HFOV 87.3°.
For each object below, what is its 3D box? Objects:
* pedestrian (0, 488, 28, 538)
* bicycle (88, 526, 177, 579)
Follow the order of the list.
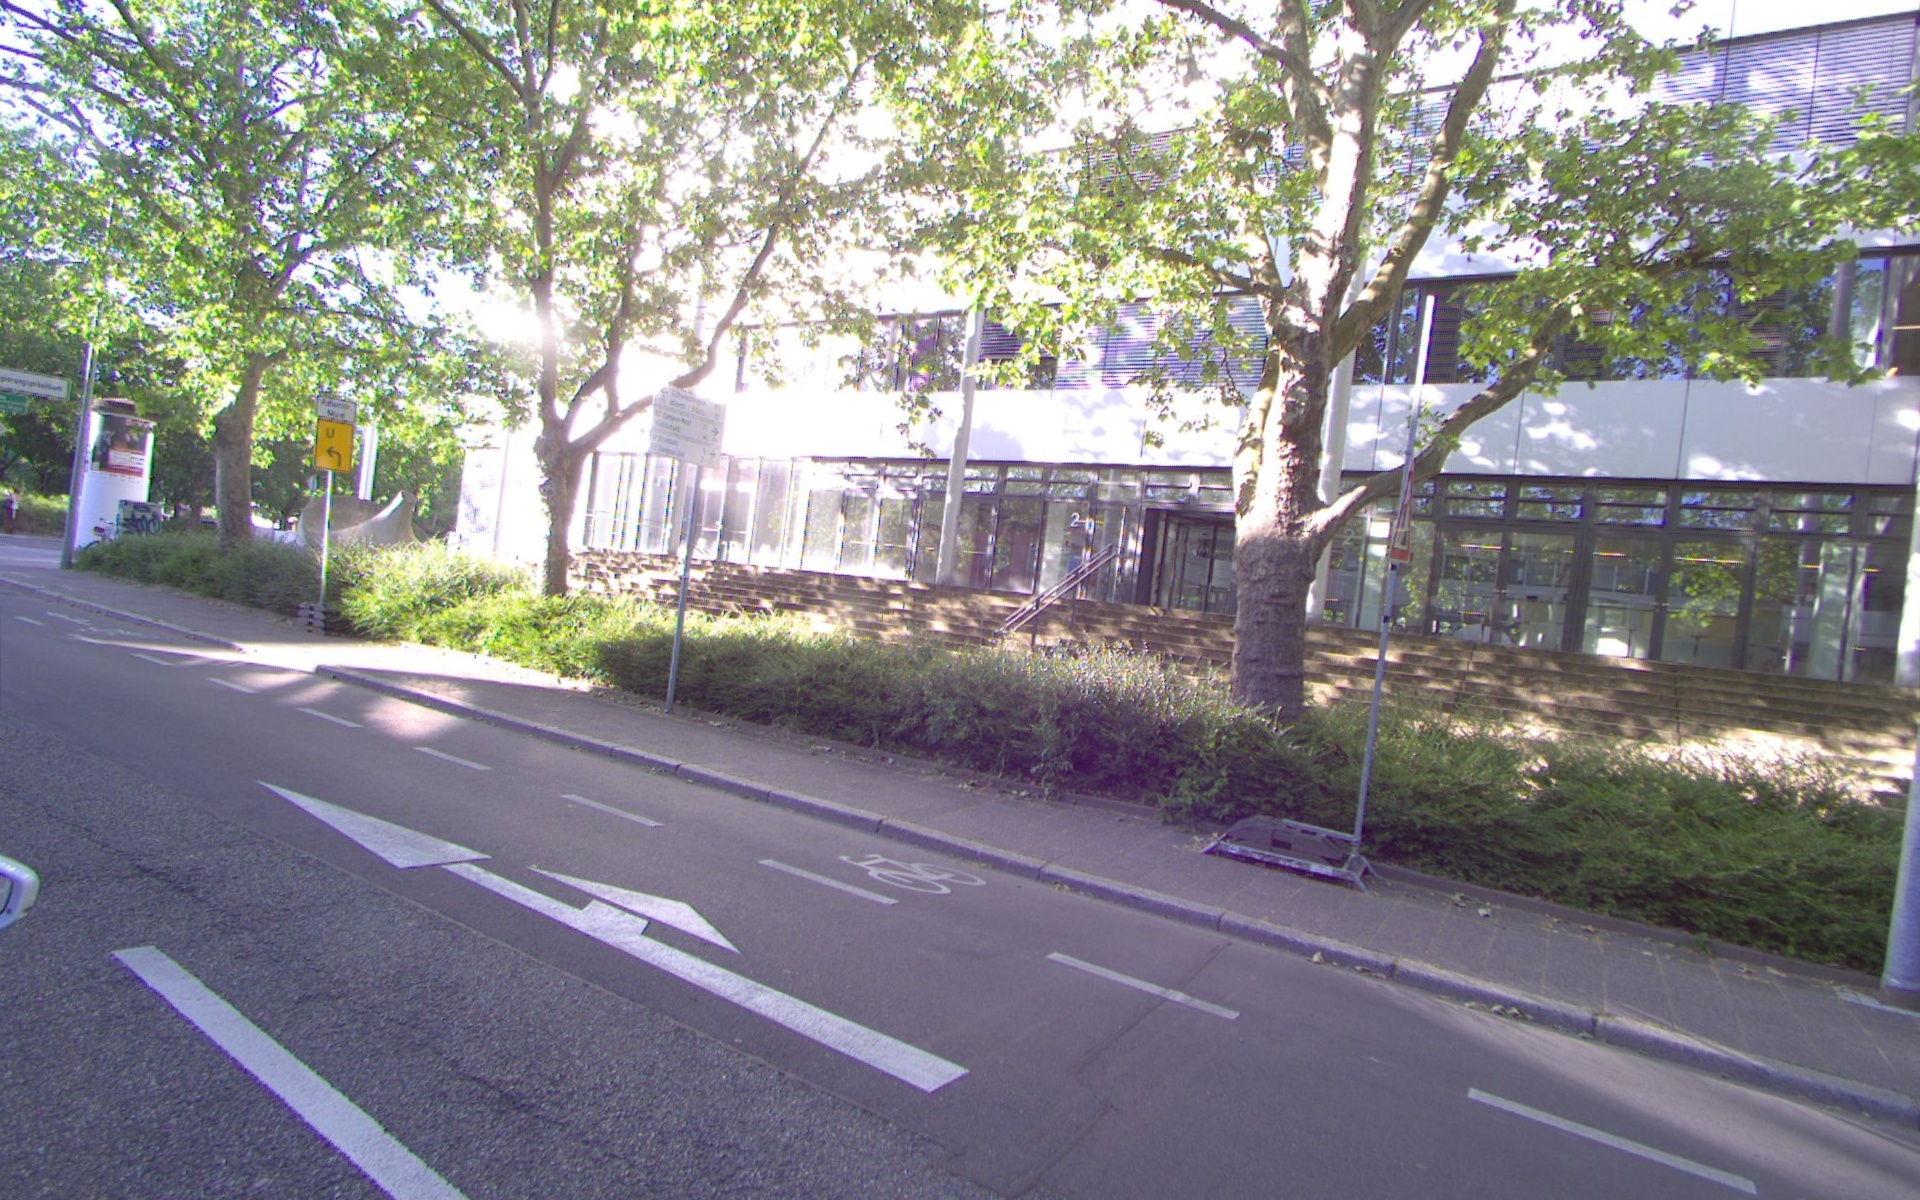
[{"bbox_3d":[-36.261,-3.326,38.407,0.672,1.793,0.613,8,-1,-29],"label":"pedestrian"},{"bbox_3d":[-19.047,-1.074,23.182,0.295,0.991,1.484,6,-2,37],"label":"bicycle"}]
